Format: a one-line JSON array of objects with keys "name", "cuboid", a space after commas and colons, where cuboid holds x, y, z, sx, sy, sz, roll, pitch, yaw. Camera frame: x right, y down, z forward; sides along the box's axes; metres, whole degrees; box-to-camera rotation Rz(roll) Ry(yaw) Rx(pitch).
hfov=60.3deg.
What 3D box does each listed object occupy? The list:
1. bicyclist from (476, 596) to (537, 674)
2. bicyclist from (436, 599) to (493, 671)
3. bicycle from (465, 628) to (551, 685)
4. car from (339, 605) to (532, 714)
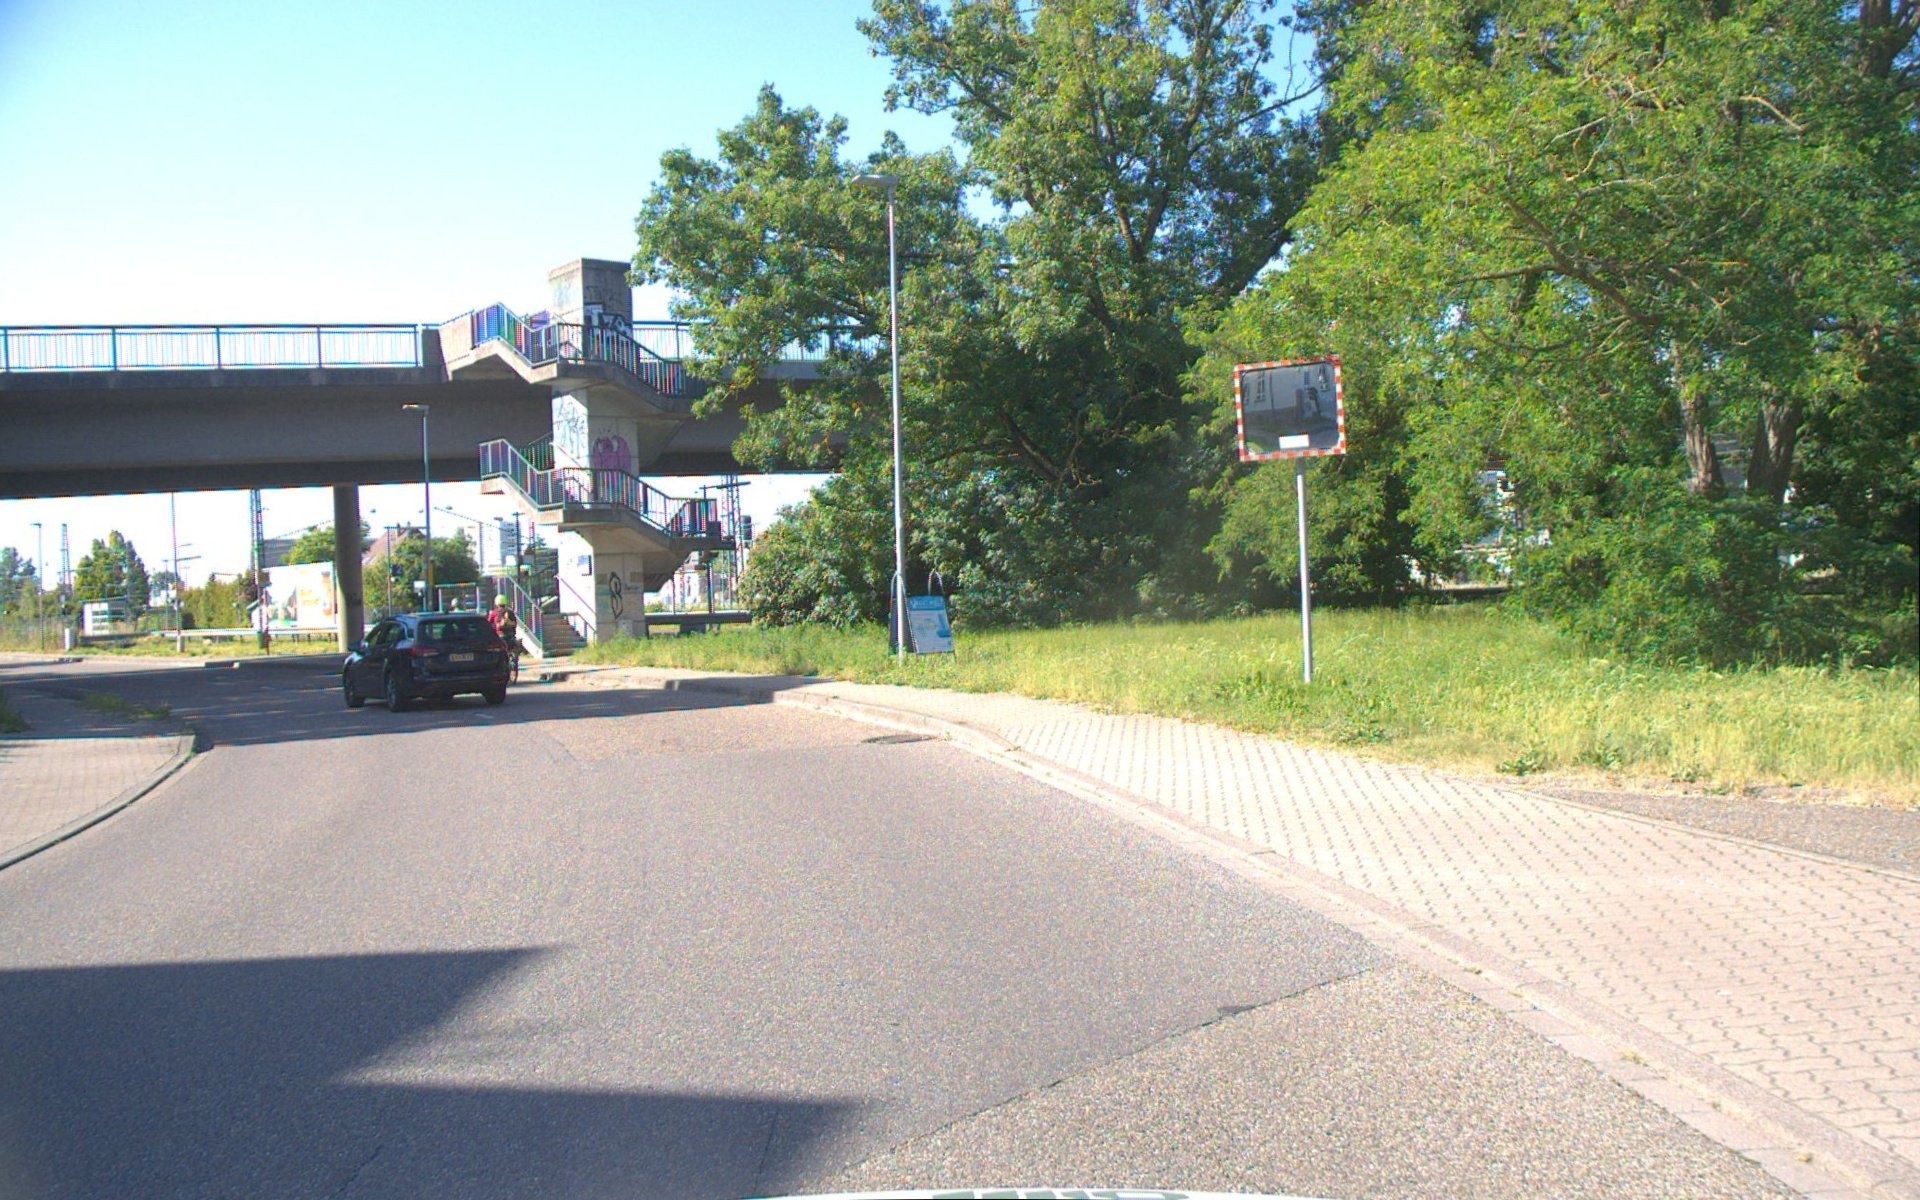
[{"name": "bicyclist", "cuboid": [-9.140, 0.696, 33.353, 0.836, 1.514, 0.910, -3, 0, -40]}, {"name": "bicyclist", "cuboid": [-10.874, 0.765, 36.265, 0.836, 1.514, 0.910, -3, 0, -41]}, {"name": "bicycle", "cuboid": [-9.135, 1.134, 33.369, 0.835, 1.070, 2.158, -3, 0, -39]}, {"name": "car", "cuboid": [-8.592, 0.936, 26.838, 1.924, 1.514, 4.515, -3, 0, -32]}]
